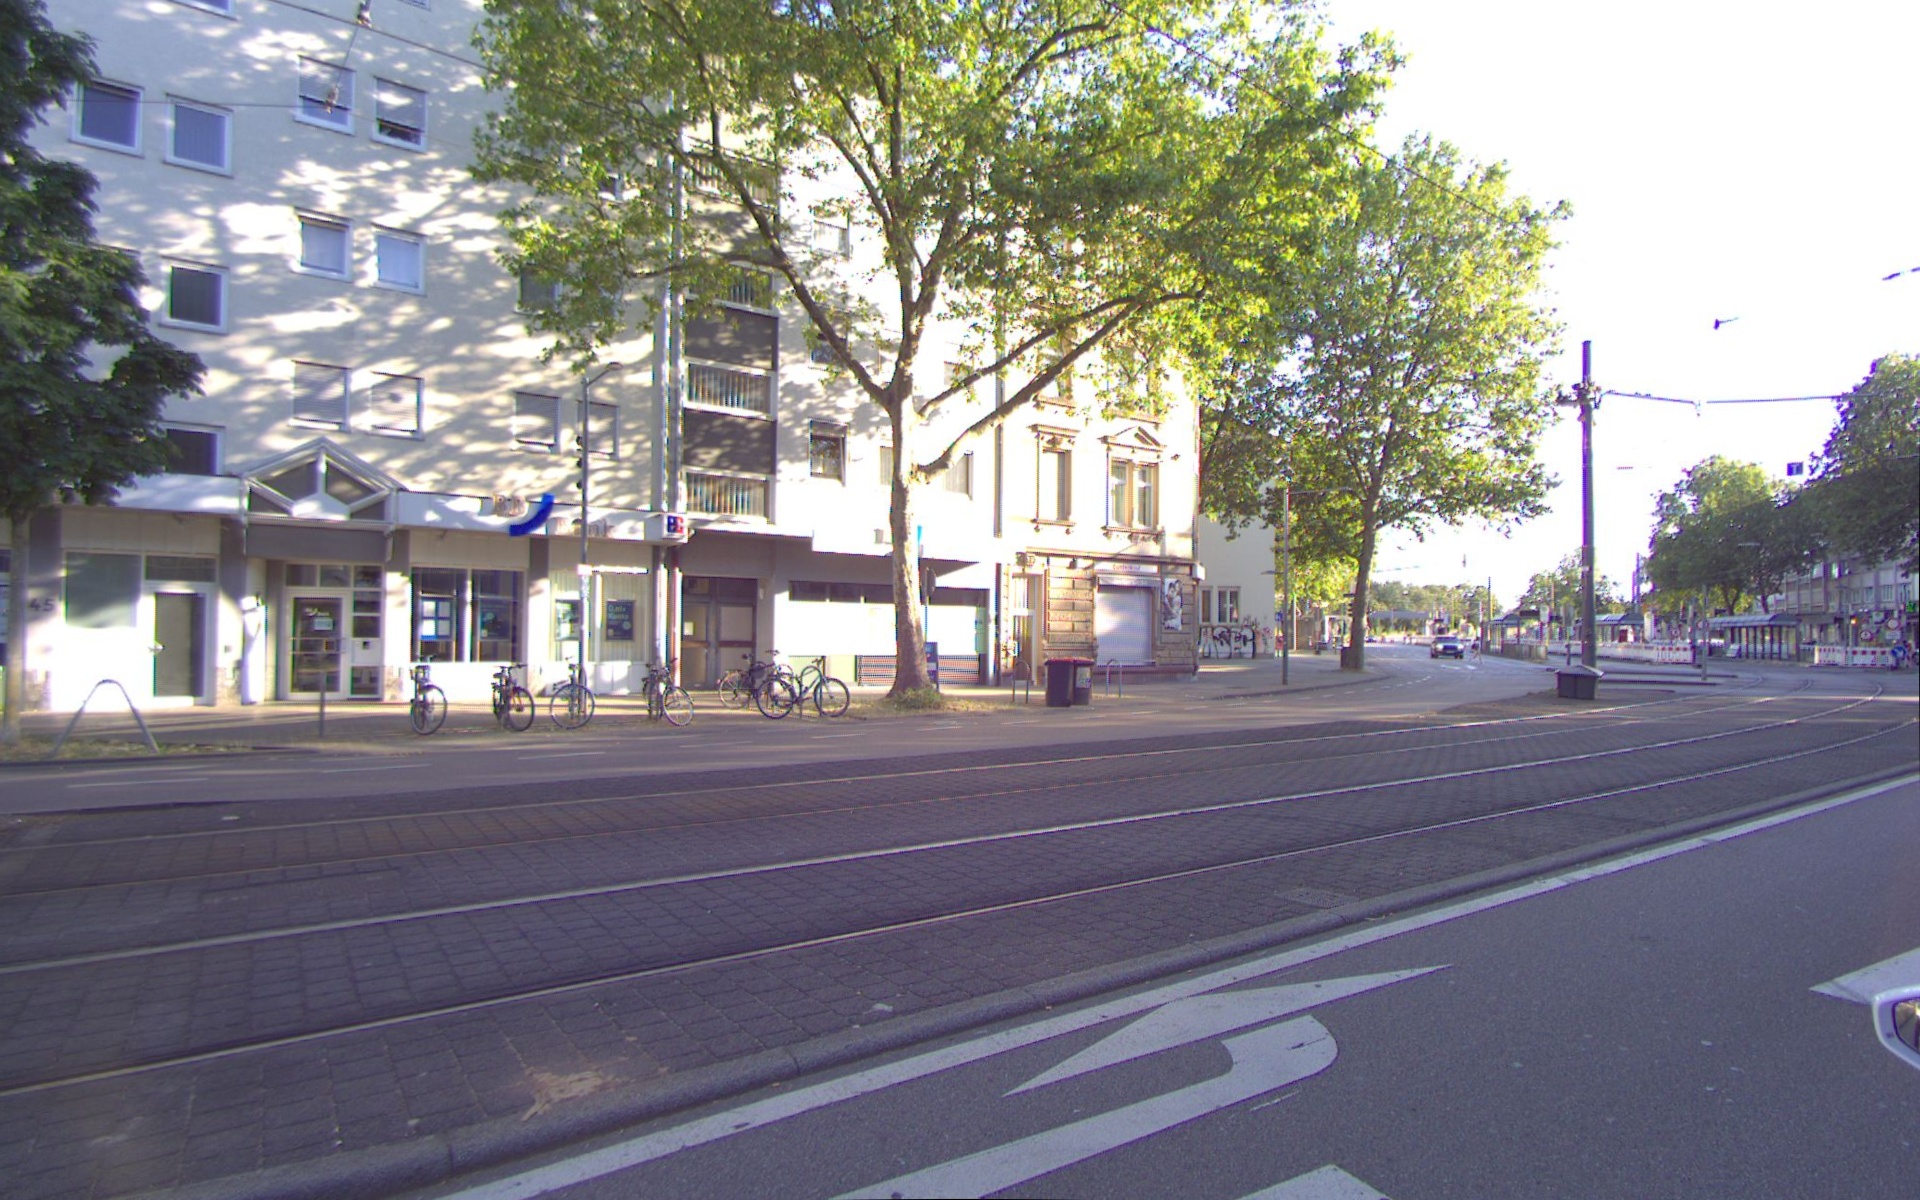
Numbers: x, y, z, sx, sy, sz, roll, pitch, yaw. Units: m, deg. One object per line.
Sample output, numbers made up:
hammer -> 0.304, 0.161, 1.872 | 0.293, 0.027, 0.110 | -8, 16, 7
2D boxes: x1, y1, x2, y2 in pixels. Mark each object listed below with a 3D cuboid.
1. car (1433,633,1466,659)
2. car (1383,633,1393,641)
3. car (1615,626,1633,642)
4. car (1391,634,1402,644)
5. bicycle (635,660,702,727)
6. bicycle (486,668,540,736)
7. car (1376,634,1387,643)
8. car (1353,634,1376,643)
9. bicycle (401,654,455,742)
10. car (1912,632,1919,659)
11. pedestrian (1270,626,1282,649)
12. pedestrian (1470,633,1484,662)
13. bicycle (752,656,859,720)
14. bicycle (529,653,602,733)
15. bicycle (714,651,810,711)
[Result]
car -> 32.979, 3.104, 67.704 | 1.962, 1.661, 3.997 | 0, -2, 25
car -> 89.574, 7.743, 210.276 | 1.814, 1.706, 3.716 | 0, -2, 23
car -> 87.803, 4.483, 132.794 | 1.593, 2.040, 3.110 | 0, -2, 26
car -> 78.777, 7.032, 181.345 | 1.814, 1.706, 3.715 | -2, -2, 23
bicycle -> -4.999, 1.571, 17.154 | 0.584, 1.002, 1.729 | 2, -1, -34
bicycle -> -6.930, 1.549, 15.539 | 0.467, 0.900, 1.729 | 2, -1, -34
car -> 79.456, 7.196, 189.327 | 1.814, 1.706, 3.716 | 0, -2, 23
car -> 78.242, 7.375, 194.282 | 3.919, 1.661, 1.792 | 0, -2, 13
bicycle -> -7.831, 1.402, 14.750 | 0.506, 1.153, 1.729 | 2, -1, -34
car -> 64.516, 3.022, 65.579 | 1.960, 1.815, 4.000 | 2, -1, 20
pedestrian -> 20.790, 2.455, 66.150 | 0.599, 1.533, 0.493 | 0, -1, -6
pedestrian -> 30.002, 2.775, 58.332 | 0.645, 1.678, 0.444 | 0, -2, 18
bicycle -> -2.789, 1.576, 18.230 | 1.800, 1.091, 0.649 | 2, -2, -29
bicycle -> -6.335, 1.451, 16.090 | 0.724, 1.128, 1.729 | 2, -1, -34
bicycle -> -3.929, 1.588, 19.979 | 1.777, 1.132, 0.617 | 2, -2, -29
